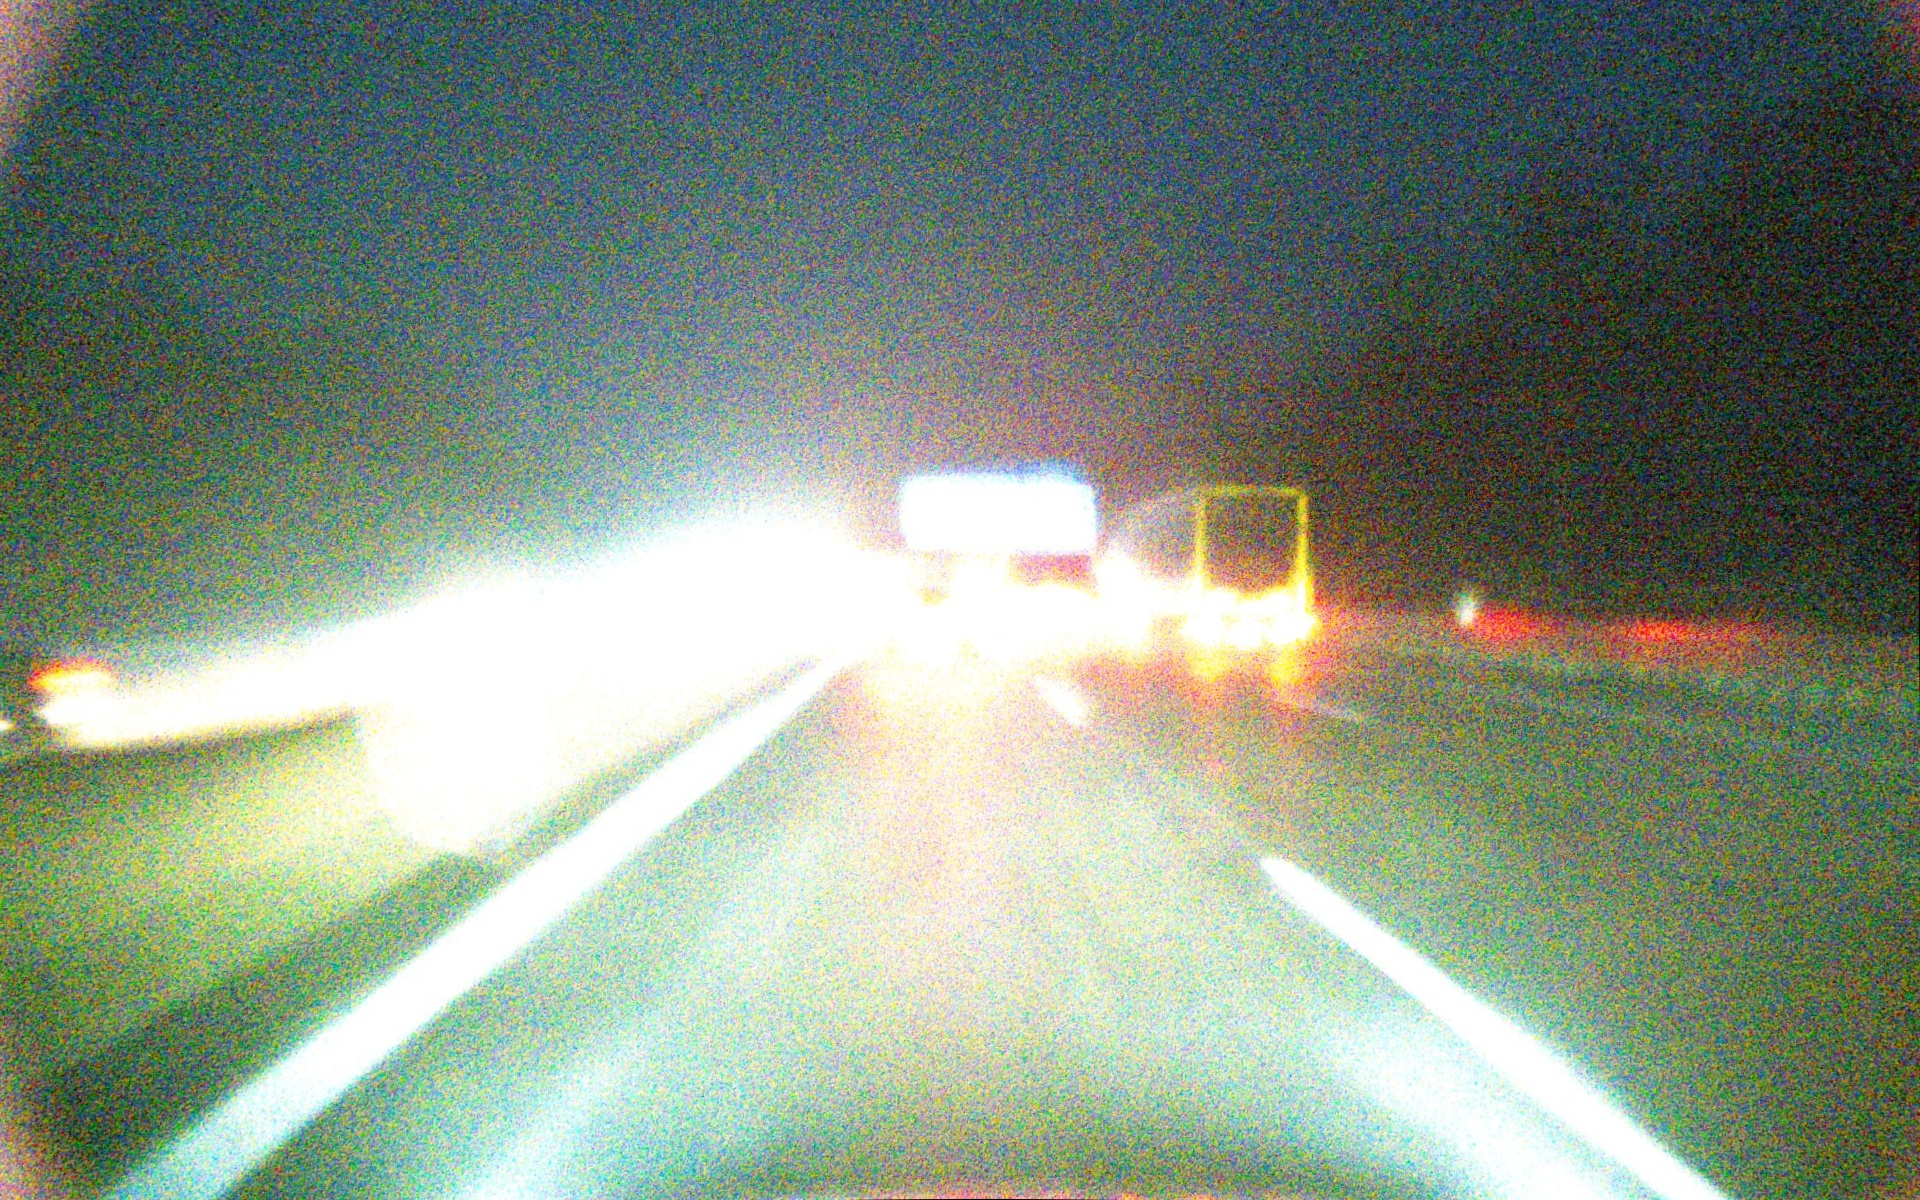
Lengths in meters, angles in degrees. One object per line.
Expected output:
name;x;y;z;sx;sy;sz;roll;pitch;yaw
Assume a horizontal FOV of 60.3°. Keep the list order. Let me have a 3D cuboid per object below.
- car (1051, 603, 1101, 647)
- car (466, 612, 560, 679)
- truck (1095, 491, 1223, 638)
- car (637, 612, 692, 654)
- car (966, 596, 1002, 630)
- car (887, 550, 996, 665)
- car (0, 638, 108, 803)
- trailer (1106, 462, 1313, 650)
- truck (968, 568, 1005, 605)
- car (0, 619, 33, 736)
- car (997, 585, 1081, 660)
car;5.769;1.228;82.772;1.954;2.049;3.997;-2;0;-4
car;-13.539;1.338;50.302;1.954;1.791;3.998;1;1;-4
truck;6.059;-1.045;51.197;2.980;4.180;5.796;-2;0;-2
car;-14.428;1.574;81.004;1.953;1.791;4.958;1;1;-2
car;1.495;0.792;105.424;1.954;2.049;3.997;-2;0;-4
car;-0.384;0.138;31.981;1.953;2.049;3.999;1;0;-2
car;-12.273;1.473;19.705;1.953;1.791;4.653;1;1;-2
trailer;6.284;-1.022;44.511;2.980;4.180;13.823;-2;0;-2
truck;2.552;-1.264;160.481;2.976;3.355;11.376;-2;0;-2
car;-16.346;1.294;25.065;1.954;1.847;5.091;1;1;-4
car;2.243;0.626;48.121;1.954;2.049;3.997;-2;0;-4
